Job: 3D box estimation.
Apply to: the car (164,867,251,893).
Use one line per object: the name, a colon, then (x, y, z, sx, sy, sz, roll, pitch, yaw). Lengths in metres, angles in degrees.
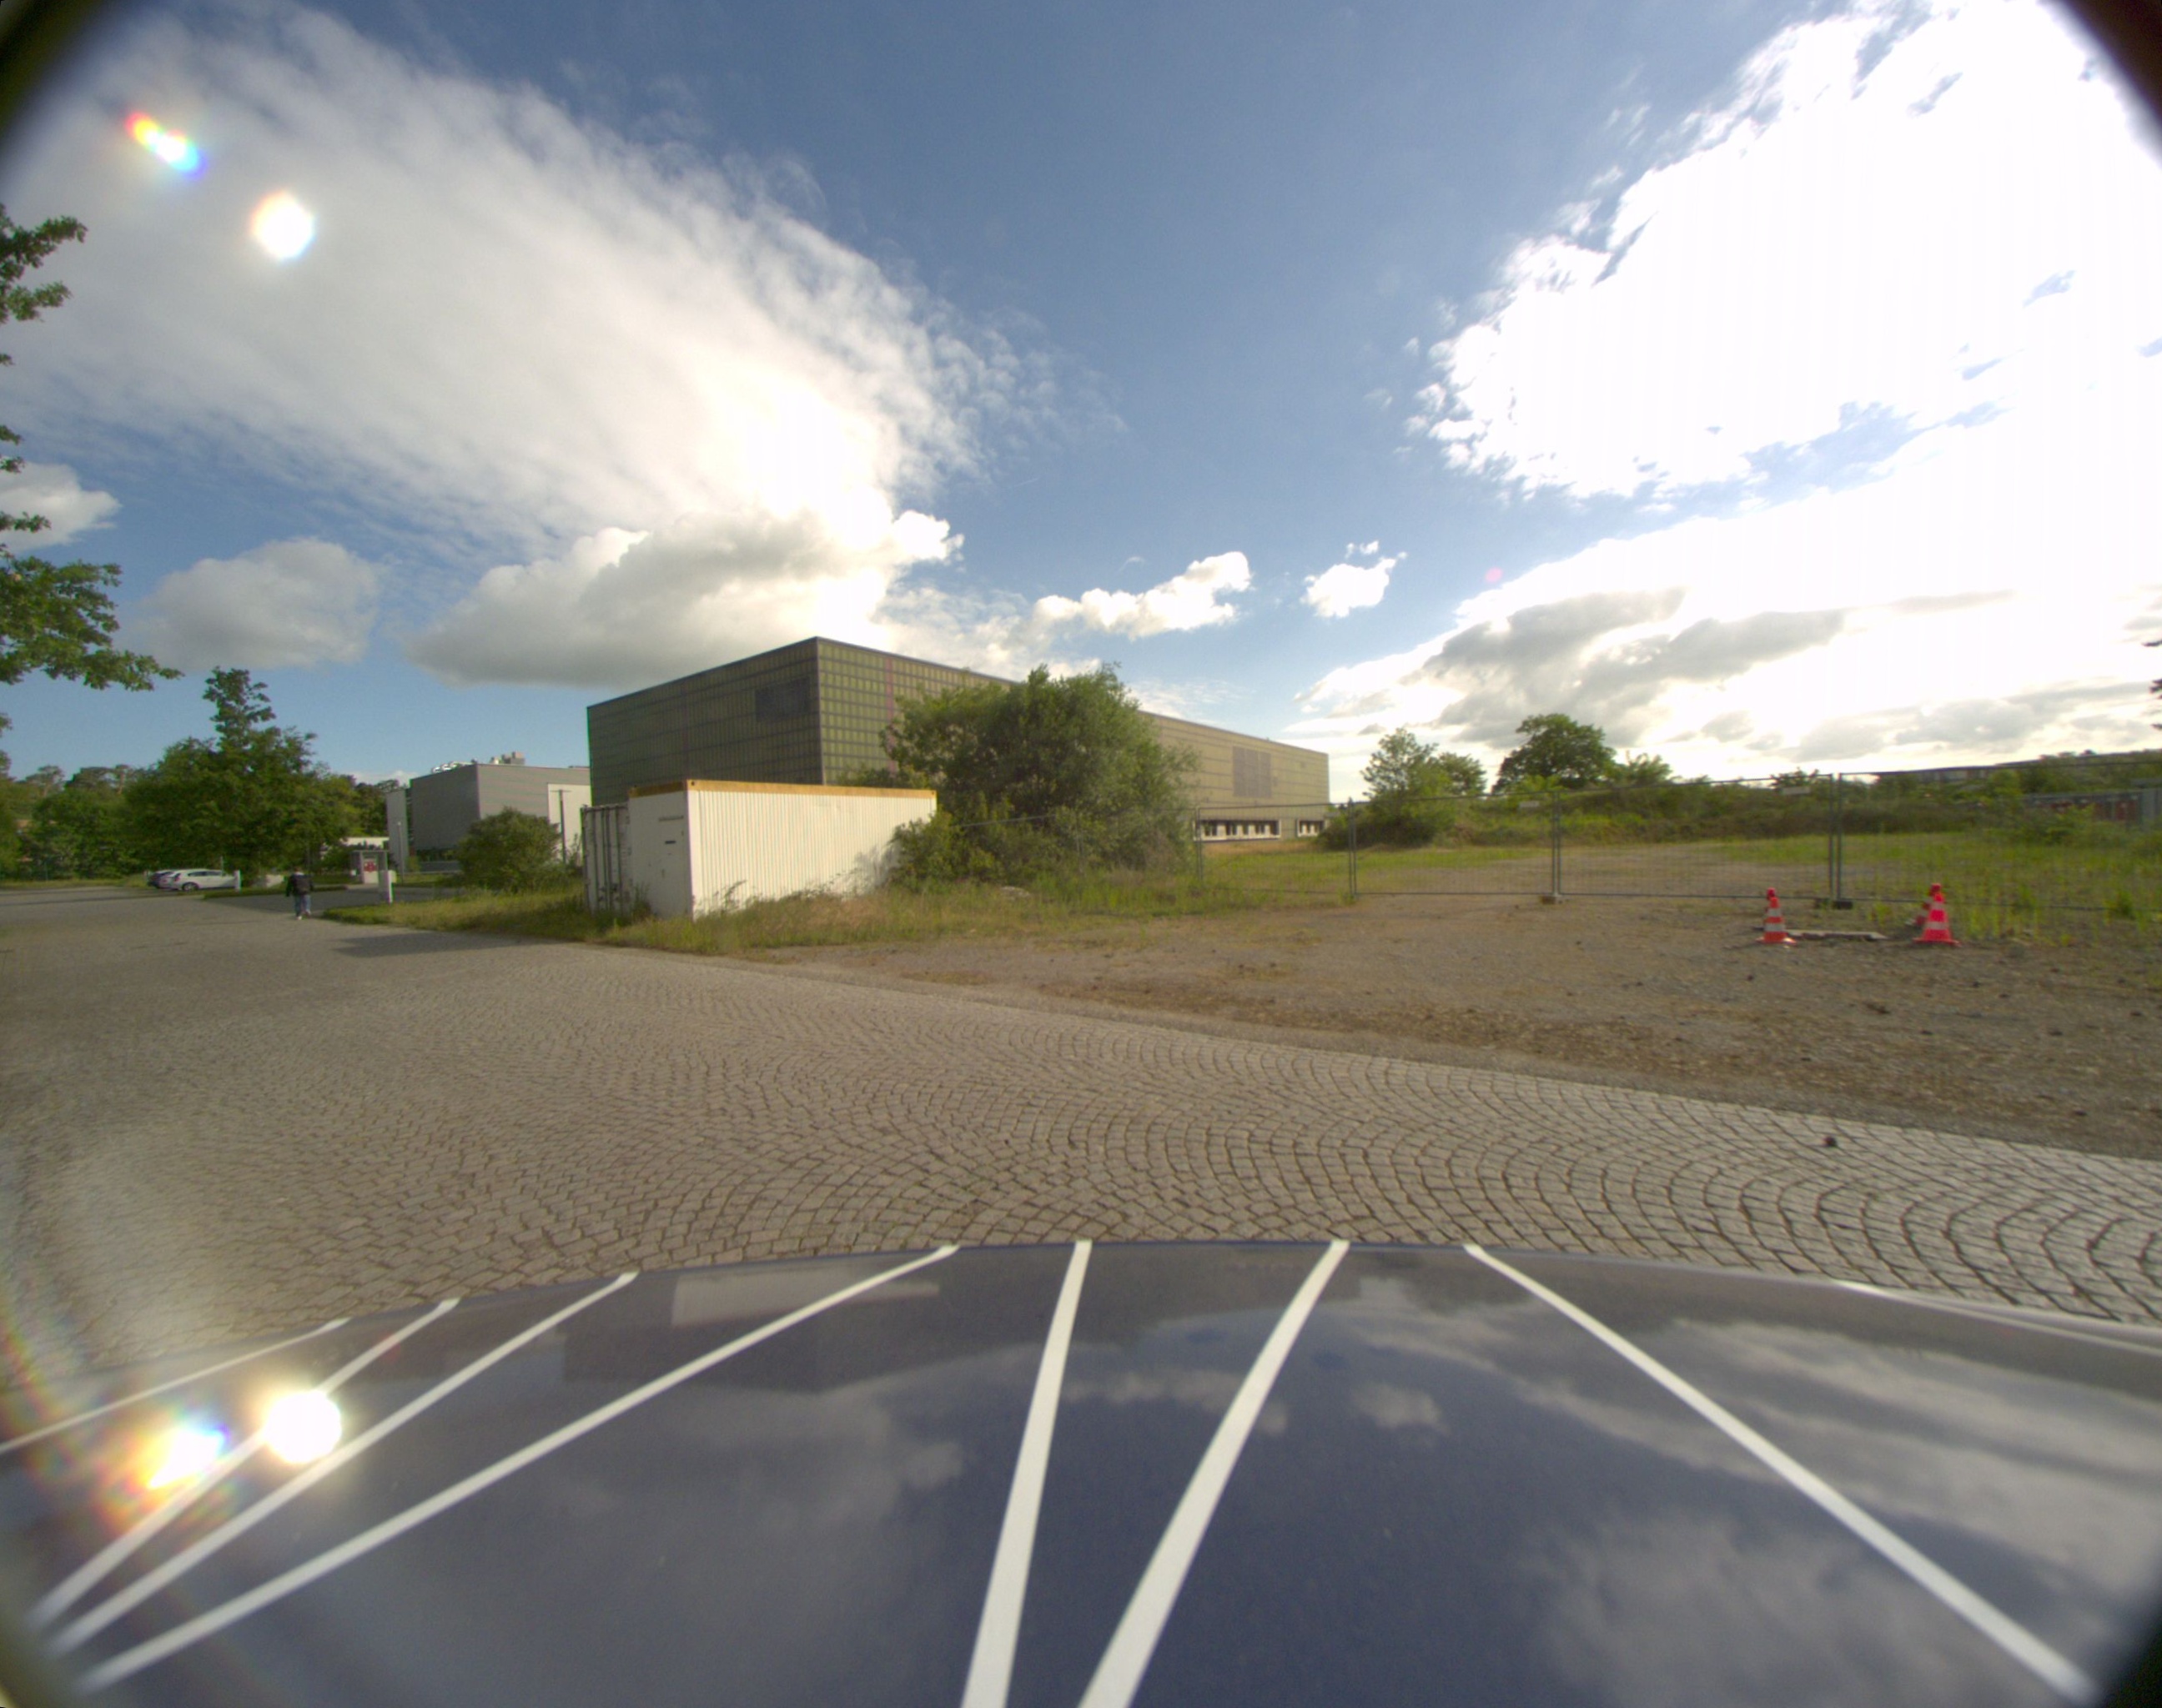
car: (-62.974, 1.845, 54.872, 1.994, 1.633, 4.007, -1, 2, 41)

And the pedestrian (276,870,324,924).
pedestrian: (-23.553, 1.279, 22.913, 1.025, 1.550, 0.869, -1, 2, 40)

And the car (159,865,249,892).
car: (-61.089, 1.669, 53.000, 1.994, 1.633, 4.007, -1, 2, 41)
